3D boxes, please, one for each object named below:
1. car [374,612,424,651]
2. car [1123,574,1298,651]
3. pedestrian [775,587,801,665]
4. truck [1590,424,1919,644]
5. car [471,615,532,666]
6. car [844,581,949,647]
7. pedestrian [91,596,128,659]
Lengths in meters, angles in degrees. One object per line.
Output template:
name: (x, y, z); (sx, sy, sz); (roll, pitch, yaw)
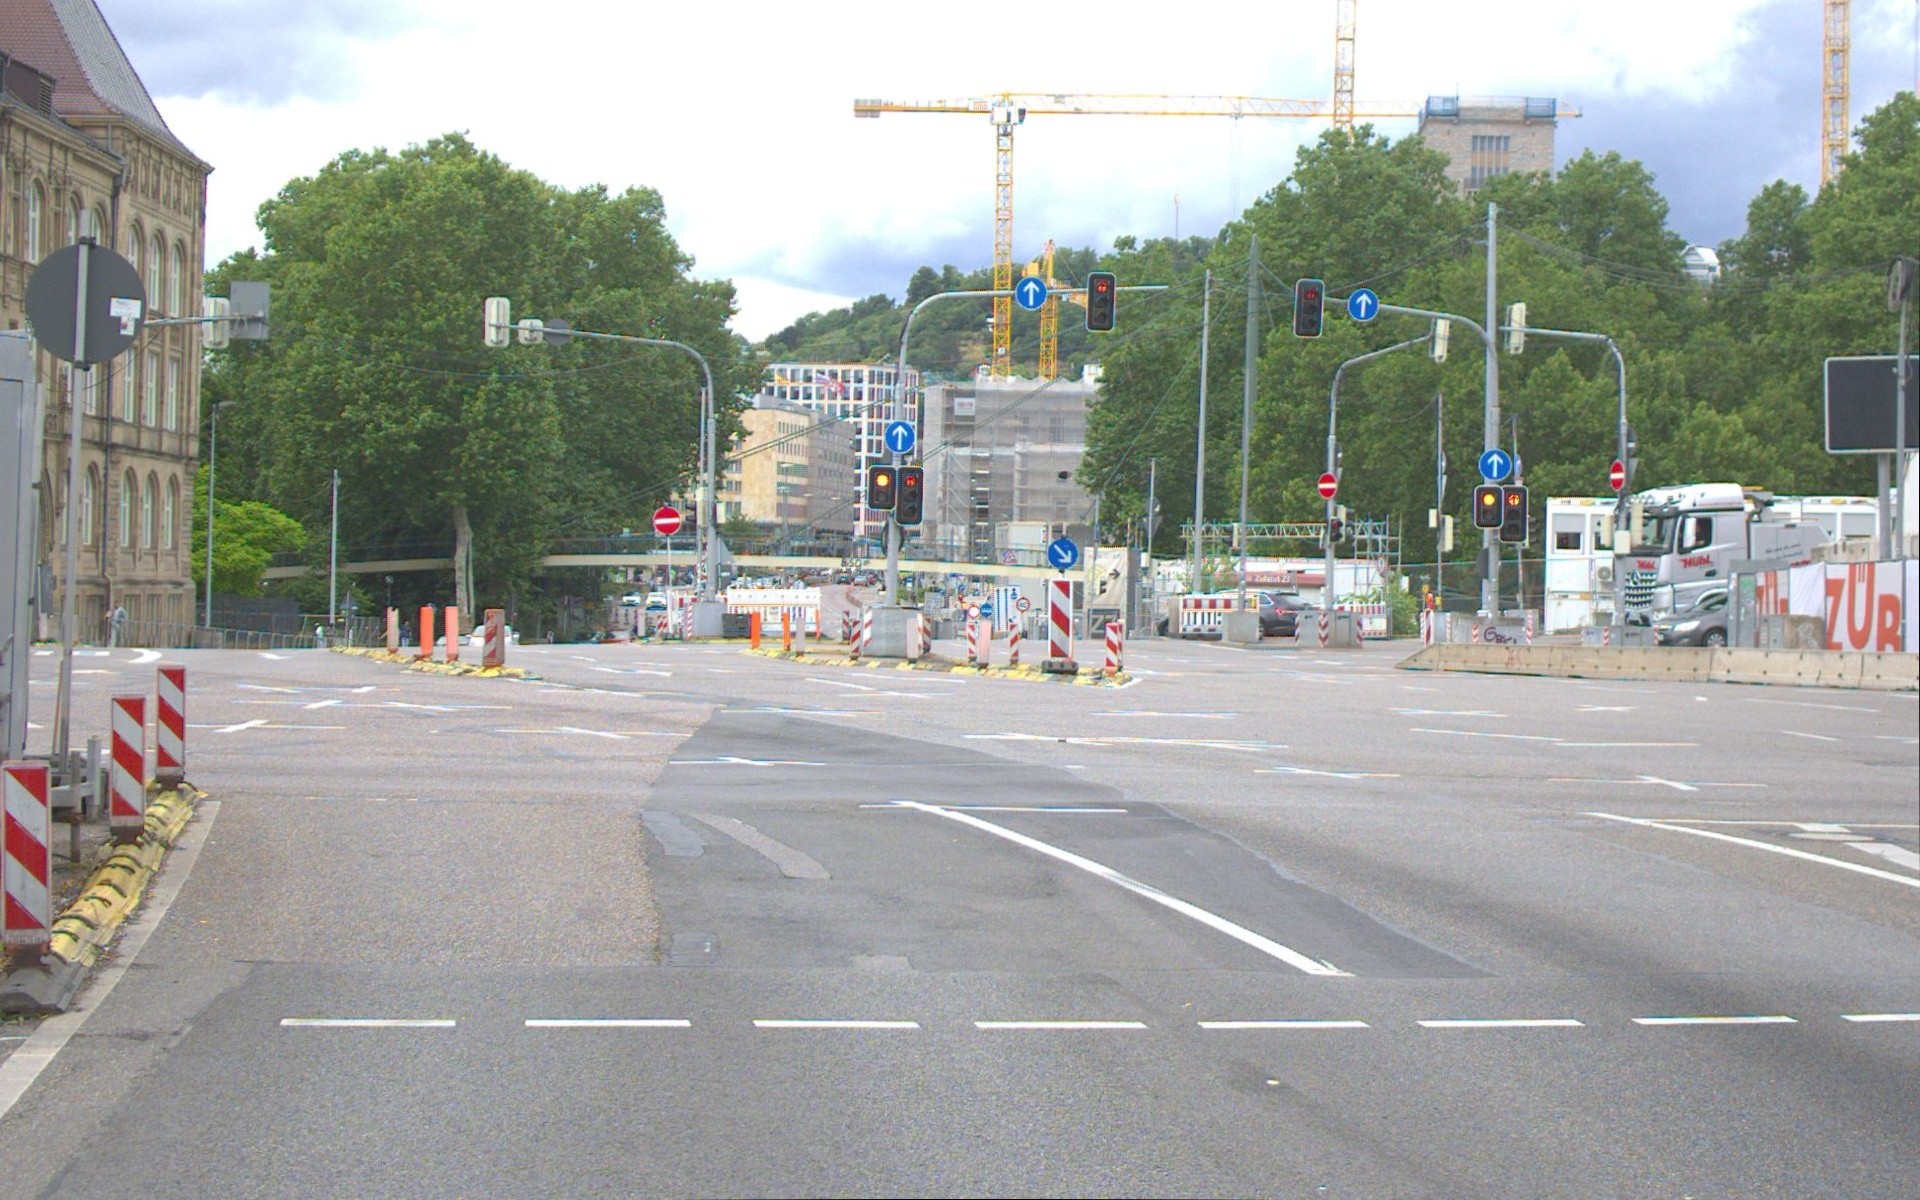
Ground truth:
car: (-27.729, 1.530, 170.120); (1.993, 1.831, 4.001); (1, 1, -3)
car: (6.776, 0.321, 92.993); (4.270, 2.007, 1.997); (1, 1, 27)
pedestrian: (-4.072, 0.616, 81.195); (0.585, 1.834, 0.604); (1, 0, -4)
truck: (19.977, -1.499, 80.995); (9.712, 4.943, 3.114); (1, 0, -18)
car: (-17.527, 1.539, 131.635); (1.993, 1.831, 4.001); (1, 1, -3)
car: (-2.051, 0.442, 109.803); (1.993, 2.007, 4.001); (1, 1, -23)
pedestrian: (-27.115, 0.870, 109.655); (0.950, 2.007, 0.766); (1, 0, 2)
